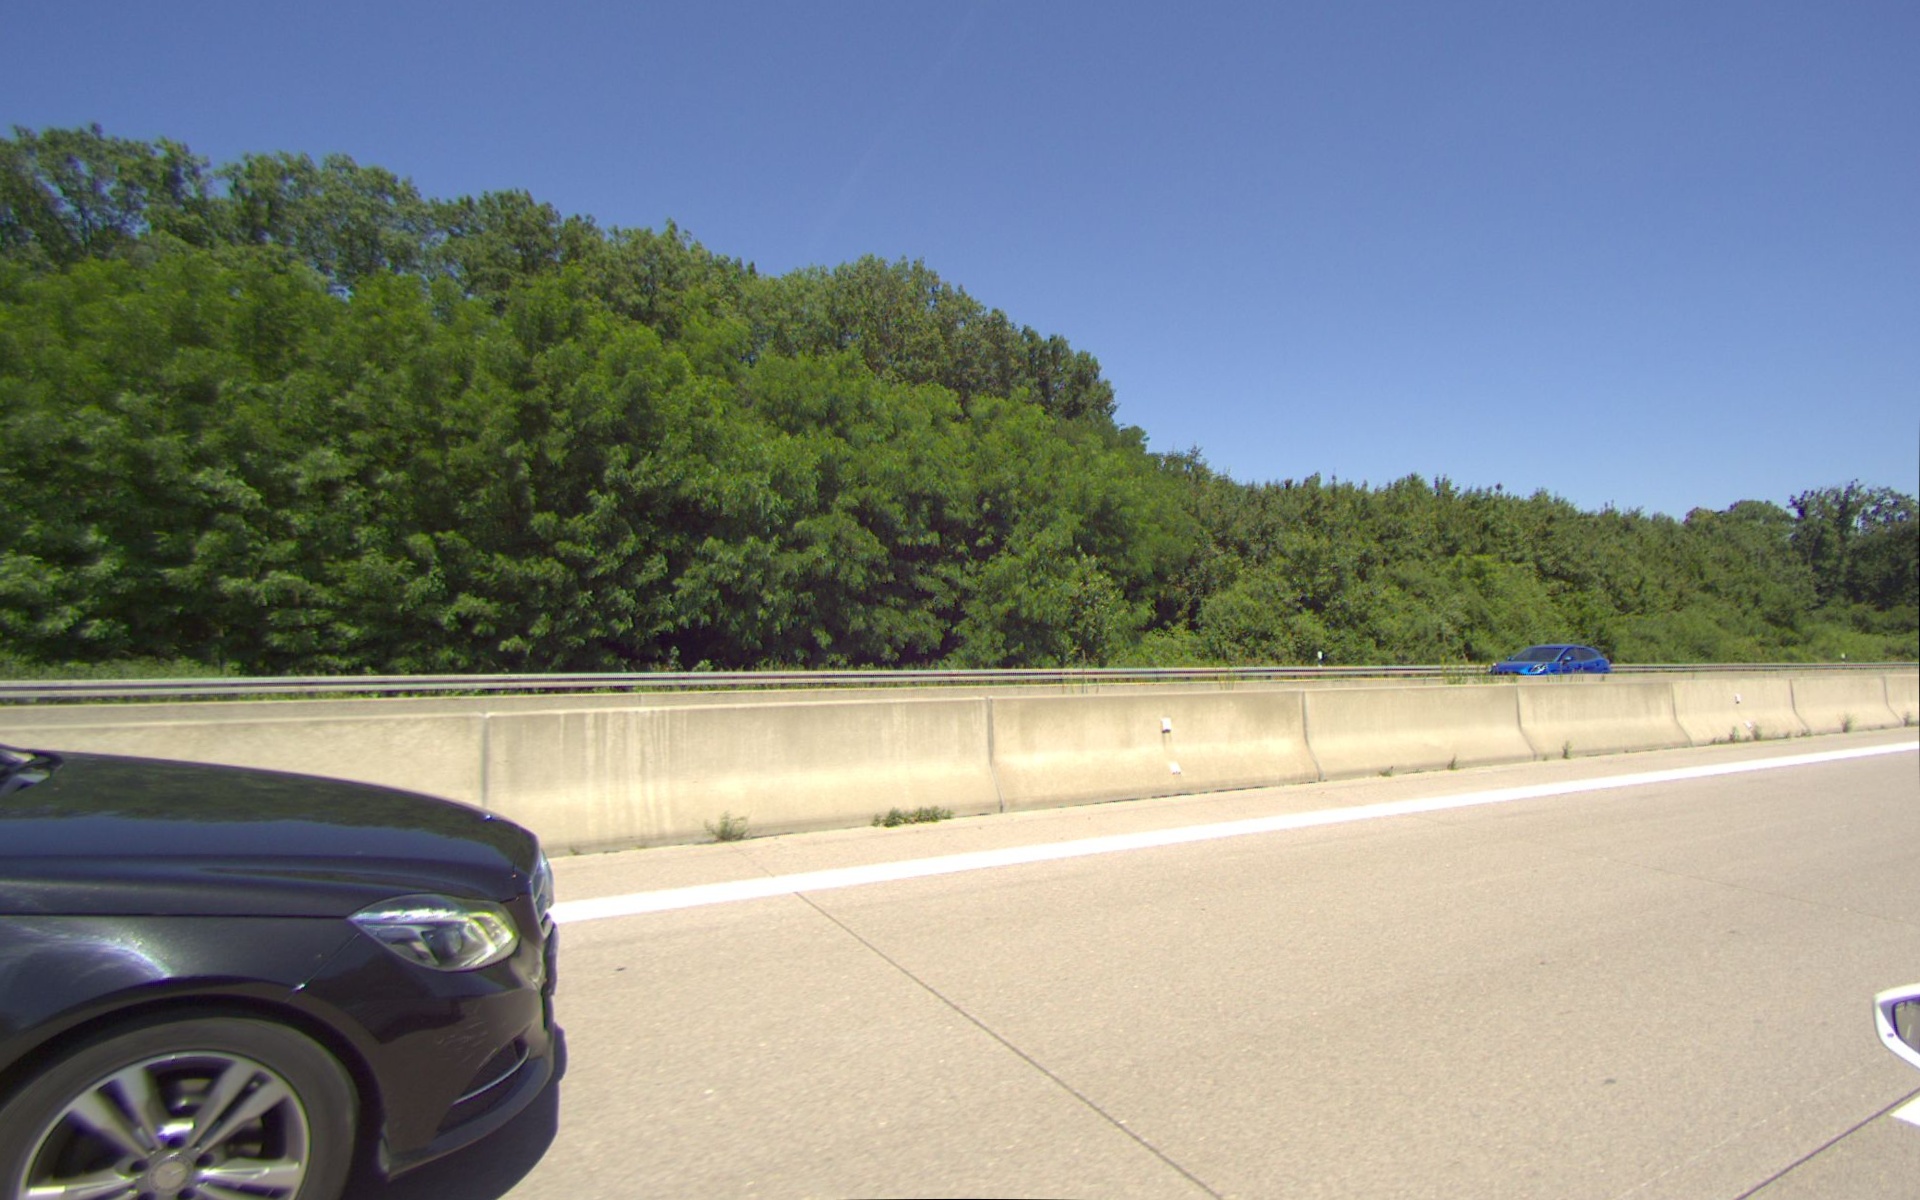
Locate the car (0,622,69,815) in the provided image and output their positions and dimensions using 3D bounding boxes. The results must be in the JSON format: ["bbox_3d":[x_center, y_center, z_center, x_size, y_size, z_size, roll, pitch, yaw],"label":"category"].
[{"bbox_3d":[-9.388,0.868,7.360,3.968,1.435,1.690,2,-1,-30],"label":"car"}]

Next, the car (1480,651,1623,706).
[{"bbox_3d":[17.085,2.223,28.973,4.458,1.403,1.700,2,-1,-32],"label":"car"}]

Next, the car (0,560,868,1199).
[{"bbox_3d":[-3.095,0.668,2.074,5.538,1.493,1.882,1,-1,-31],"label":"car"}]
